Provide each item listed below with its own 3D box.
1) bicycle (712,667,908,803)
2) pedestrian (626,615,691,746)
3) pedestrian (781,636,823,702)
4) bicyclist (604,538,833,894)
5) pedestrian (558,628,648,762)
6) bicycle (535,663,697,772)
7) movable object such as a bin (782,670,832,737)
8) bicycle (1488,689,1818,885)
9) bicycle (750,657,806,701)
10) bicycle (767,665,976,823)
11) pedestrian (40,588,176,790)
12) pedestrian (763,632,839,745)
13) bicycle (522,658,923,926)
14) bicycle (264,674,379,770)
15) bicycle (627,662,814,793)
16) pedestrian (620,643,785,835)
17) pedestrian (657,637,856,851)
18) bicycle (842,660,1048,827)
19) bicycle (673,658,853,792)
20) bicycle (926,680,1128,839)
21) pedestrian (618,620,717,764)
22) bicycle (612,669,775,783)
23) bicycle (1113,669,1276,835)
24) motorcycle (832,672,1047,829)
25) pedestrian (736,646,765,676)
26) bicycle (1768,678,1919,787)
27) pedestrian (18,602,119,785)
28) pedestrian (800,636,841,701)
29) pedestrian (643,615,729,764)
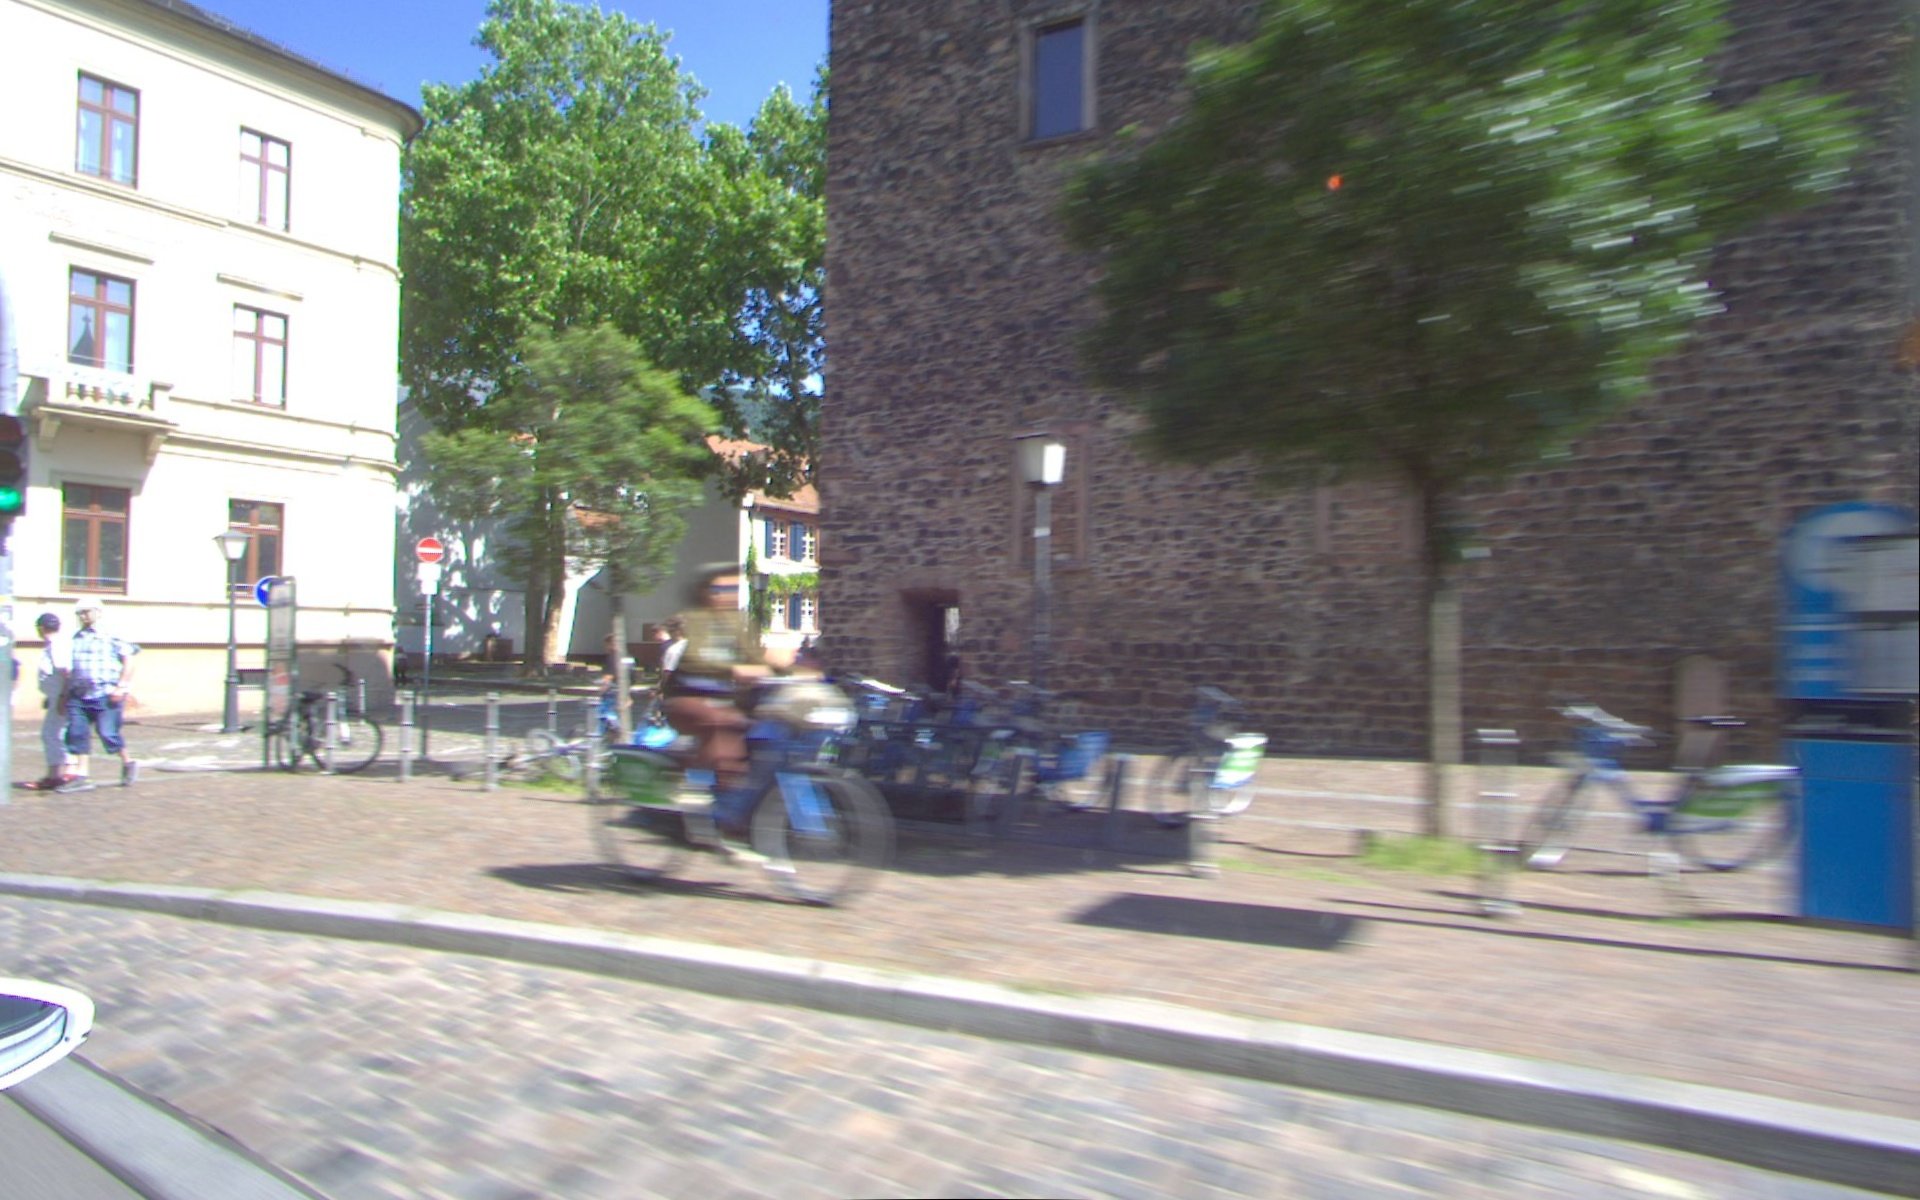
[{"bbox_3d":[-1.325,1.207,9.347,0.595,1.098,2.079,1,-4,30],"label":"bicycle"},{"bbox_3d":[-4.662,1.242,15.529,0.775,1.966,0.805,1,-2,-4],"label":"pedestrian"},{"bbox_3d":[-4.612,2.000,29.231,0.795,1.875,0.860,-1,-3,39],"label":"pedestrian"},{"bbox_3d":[-1.228,0.559,5.170,0.872,1.648,0.709,0,-2,25],"label":"bicyclist"},{"bbox_3d":[-4.943,1.297,13.947,0.909,1.787,0.990,1,-2,-4],"label":"pedestrian"},{"bbox_3d":[-3.906,1.321,11.531,0.554,1.124,1.792,1,-4,31],"label":"bicycle"},{"bbox_3d":[-2.716,1.827,17.785,0.740,1.138,0.489,-1,-3,32],"label":"movable object such as a bin"},{"bbox_3d":[4.398,1.170,6.433,1.704,1.145,0.548,1,-2,2],"label":"bicycle"},{"bbox_3d":[-5.228,2.269,28.876,0.318,1.224,1.809,-1,-2,39],"label":"bicycle"},{"bbox_3d":[-0.717,1.223,8.982,0.765,1.213,2.079,1,-4,30],"label":"bicycle"},{"bbox_3d":[-8.227,0.844,9.697,0.716,1.875,0.618,1,-2,2],"label":"pedestrian"},{"bbox_3d":[-2.612,1.434,16.459,0.946,1.782,0.757,-1,-3,32],"label":"pedestrian"},{"bbox_3d":[-1.234,0.885,5.140,1.976,1.143,0.689,0,-3,24],"label":"bicycle"},{"bbox_3d":[-7.234,1.368,11.328,1.559,1.015,0.507,-5,-6,34],"label":"bicycle"},{"bbox_3d":[-2.448,1.296,10.541,0.599,1.213,2.079,1,-4,31],"label":"bicycle"},{"bbox_3d":[-1.880,0.980,7.408,0.683,1.298,0.960,-1,-3,30],"label":"pedestrian"},{"bbox_3d":[-1.376,0.932,6.946,0.683,1.324,1.246,-1,-3,30],"label":"pedestrian"},{"bbox_3d":[-0.057,1.159,8.581,0.765,1.213,2.079,1,-4,30],"label":"bicycle"},{"bbox_3d":[-1.940,1.235,10.234,0.519,1.213,2.079,1,-4,30],"label":"bicycle"},{"bbox_3d":[0.615,1.218,8.136,0.789,1.079,2.023,1,-4,30],"label":"bicycle"},{"bbox_3d":[-3.748,1.157,12.871,0.892,1.775,0.805,0,-2,16],"label":"pedestrian"},{"bbox_3d":[-2.891,1.354,11.064,0.599,1.124,1.792,1,-4,31],"label":"bicycle"},{"bbox_3d":[1.978,1.213,8.293,0.716,1.212,1.544,-1,-5,38],"label":"bicycle"},{"bbox_3d":[-0.090,1.202,8.525,0.765,1.117,2.203,1,-4,30],"label":"motorcycle"},{"bbox_3d":[-8.310,2.431,39.667,0.972,1.162,0.811,2,-2,-25],"label":"pedestrian"},{"bbox_3d":[10.535,1.504,11.473,1.894,1.175,0.526,0,-2,23],"label":"bicycle"},{"bbox_3d":[-8.799,0.903,9.886,0.656,1.733,0.526,-1,-2,32],"label":"pedestrian"},{"bbox_3d":[-4.141,2.015,29.676,0.795,1.875,0.860,-1,-3,39],"label":"pedestrian"},{"bbox_3d":[-3.765,1.223,13.817,0.922,1.985,0.656,0,-2,9],"label":"pedestrian"}]
